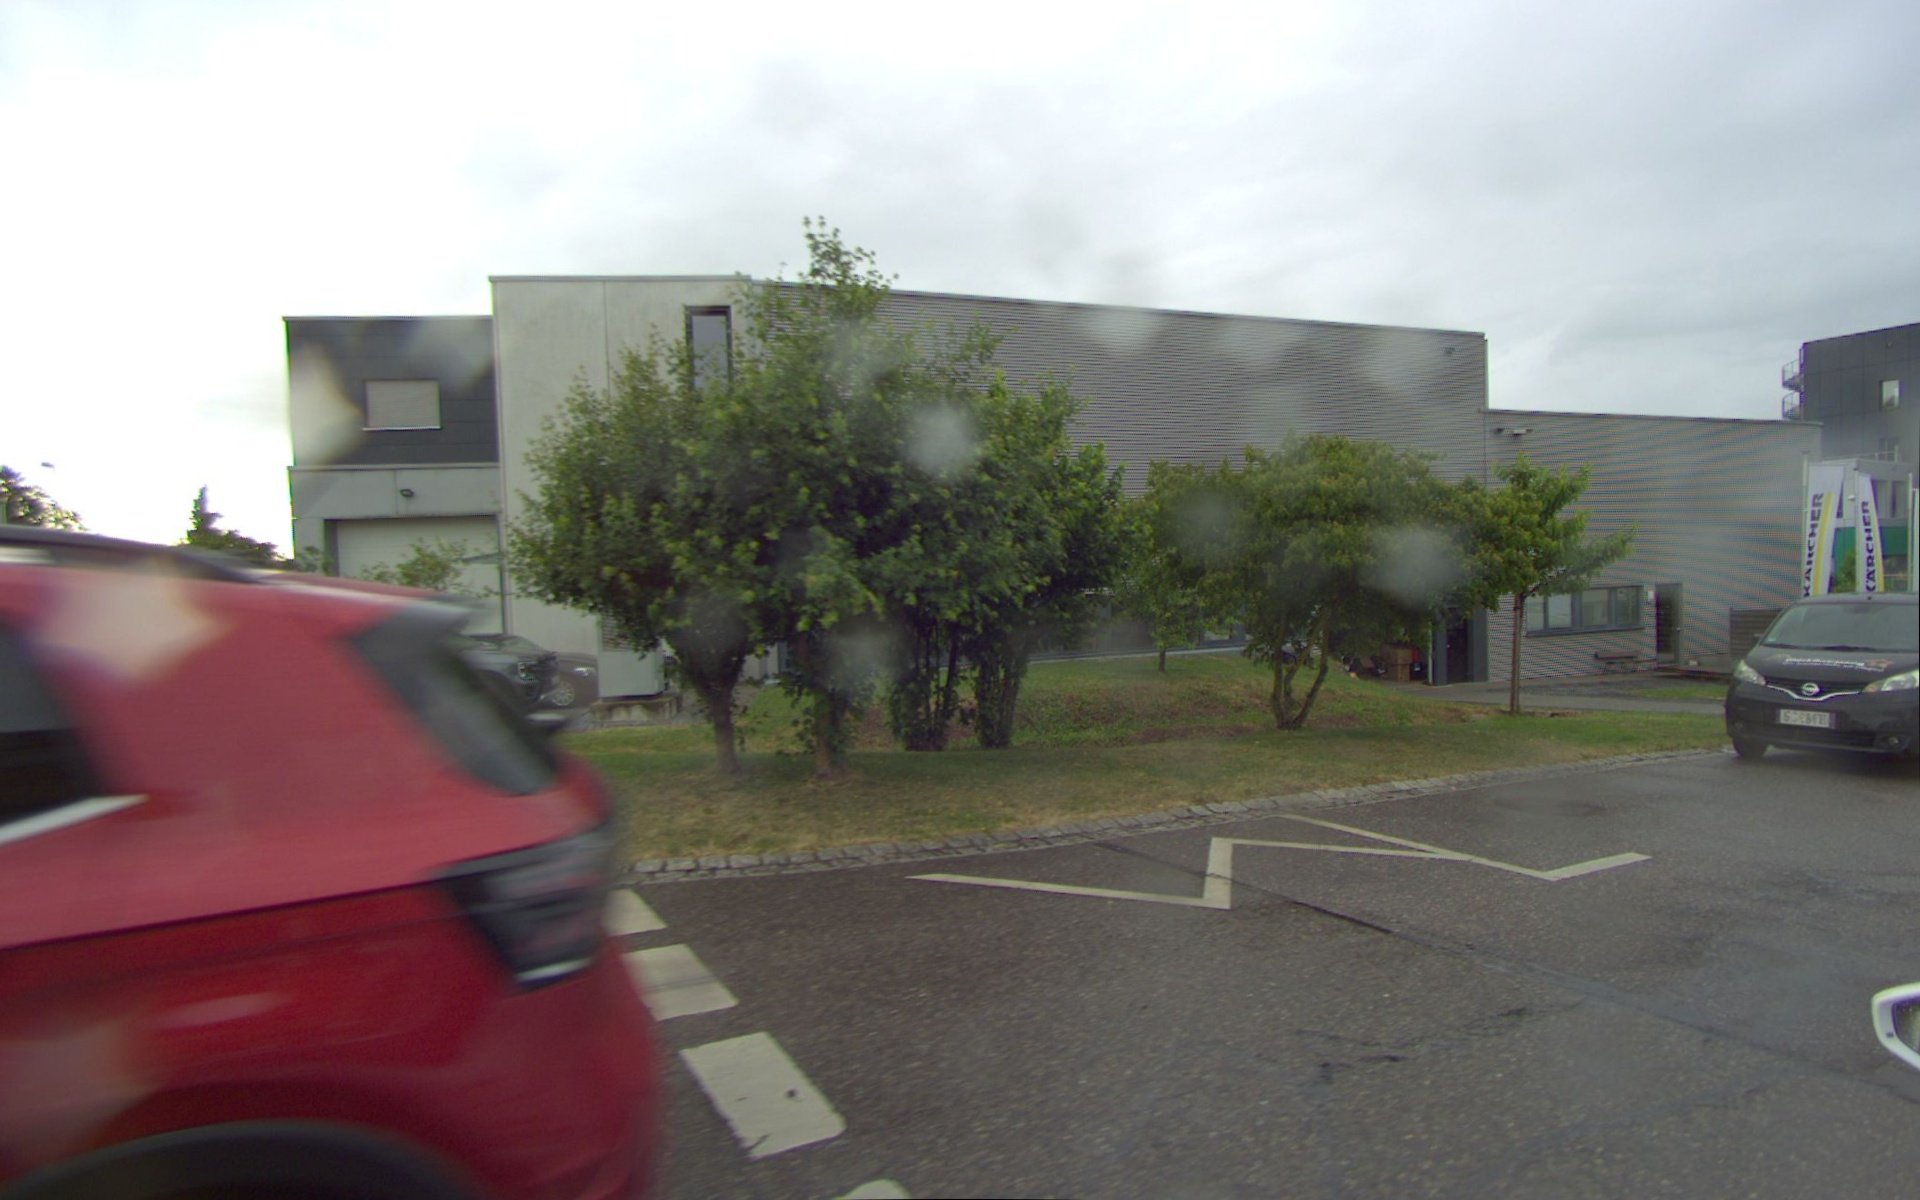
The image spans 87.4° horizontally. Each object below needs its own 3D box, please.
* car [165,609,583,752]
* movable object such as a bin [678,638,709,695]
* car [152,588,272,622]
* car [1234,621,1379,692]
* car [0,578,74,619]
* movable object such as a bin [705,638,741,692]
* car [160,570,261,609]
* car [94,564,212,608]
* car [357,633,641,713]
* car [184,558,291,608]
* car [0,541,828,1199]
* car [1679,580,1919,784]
[{"bbox_3d":[-9.423,1.235,16.660,5.506,1.947,2.133,-2,0,-8],"label":"car"},{"bbox_3d":[-5.705,1.417,21.510,0.557,1.181,0.556,-1,-1,-5],"label":"movable object such as a bin"},{"bbox_3d":[-39.655,0.275,53.380,4.533,1.670,2.289,0,-2,-7],"label":"car"},{"bbox_3d":[10.267,1.611,30.126,1.903,1.796,4.207,-3,1,-18],"label":"car"},{"bbox_3d":[-49.669,-0.081,51.949,5.320,2.000,2.289,1,-2,-7],"label":"car"},{"bbox_3d":[-5.098,1.393,21.626,0.661,1.111,0.636,-1,-1,-5],"label":"movable object such as a bin"},{"bbox_3d":[-53.519,-0.751,71.828,5.336,2.604,1.996,1,-1,-12],"label":"car"},{"bbox_3d":[-52.923,-0.894,66.017,5.712,2.738,1.995,1,1,-13],"label":"car"},{"bbox_3d":[-8.758,1.358,19.501,4.604,1.415,1.998,0,-2,-8],"label":"car"},{"bbox_3d":[-53.505,-1.212,74.519,6.183,3.474,1.998,1,-1,-6],"label":"car"},{"bbox_3d":[-2.338,0.667,1.468,3.885,1.528,1.740,2,-1,-28],"label":"car"},{"bbox_3d":[10.285,0.800,11.225,4.791,1.855,1.906,1,-1,-31],"label":"car"}]
